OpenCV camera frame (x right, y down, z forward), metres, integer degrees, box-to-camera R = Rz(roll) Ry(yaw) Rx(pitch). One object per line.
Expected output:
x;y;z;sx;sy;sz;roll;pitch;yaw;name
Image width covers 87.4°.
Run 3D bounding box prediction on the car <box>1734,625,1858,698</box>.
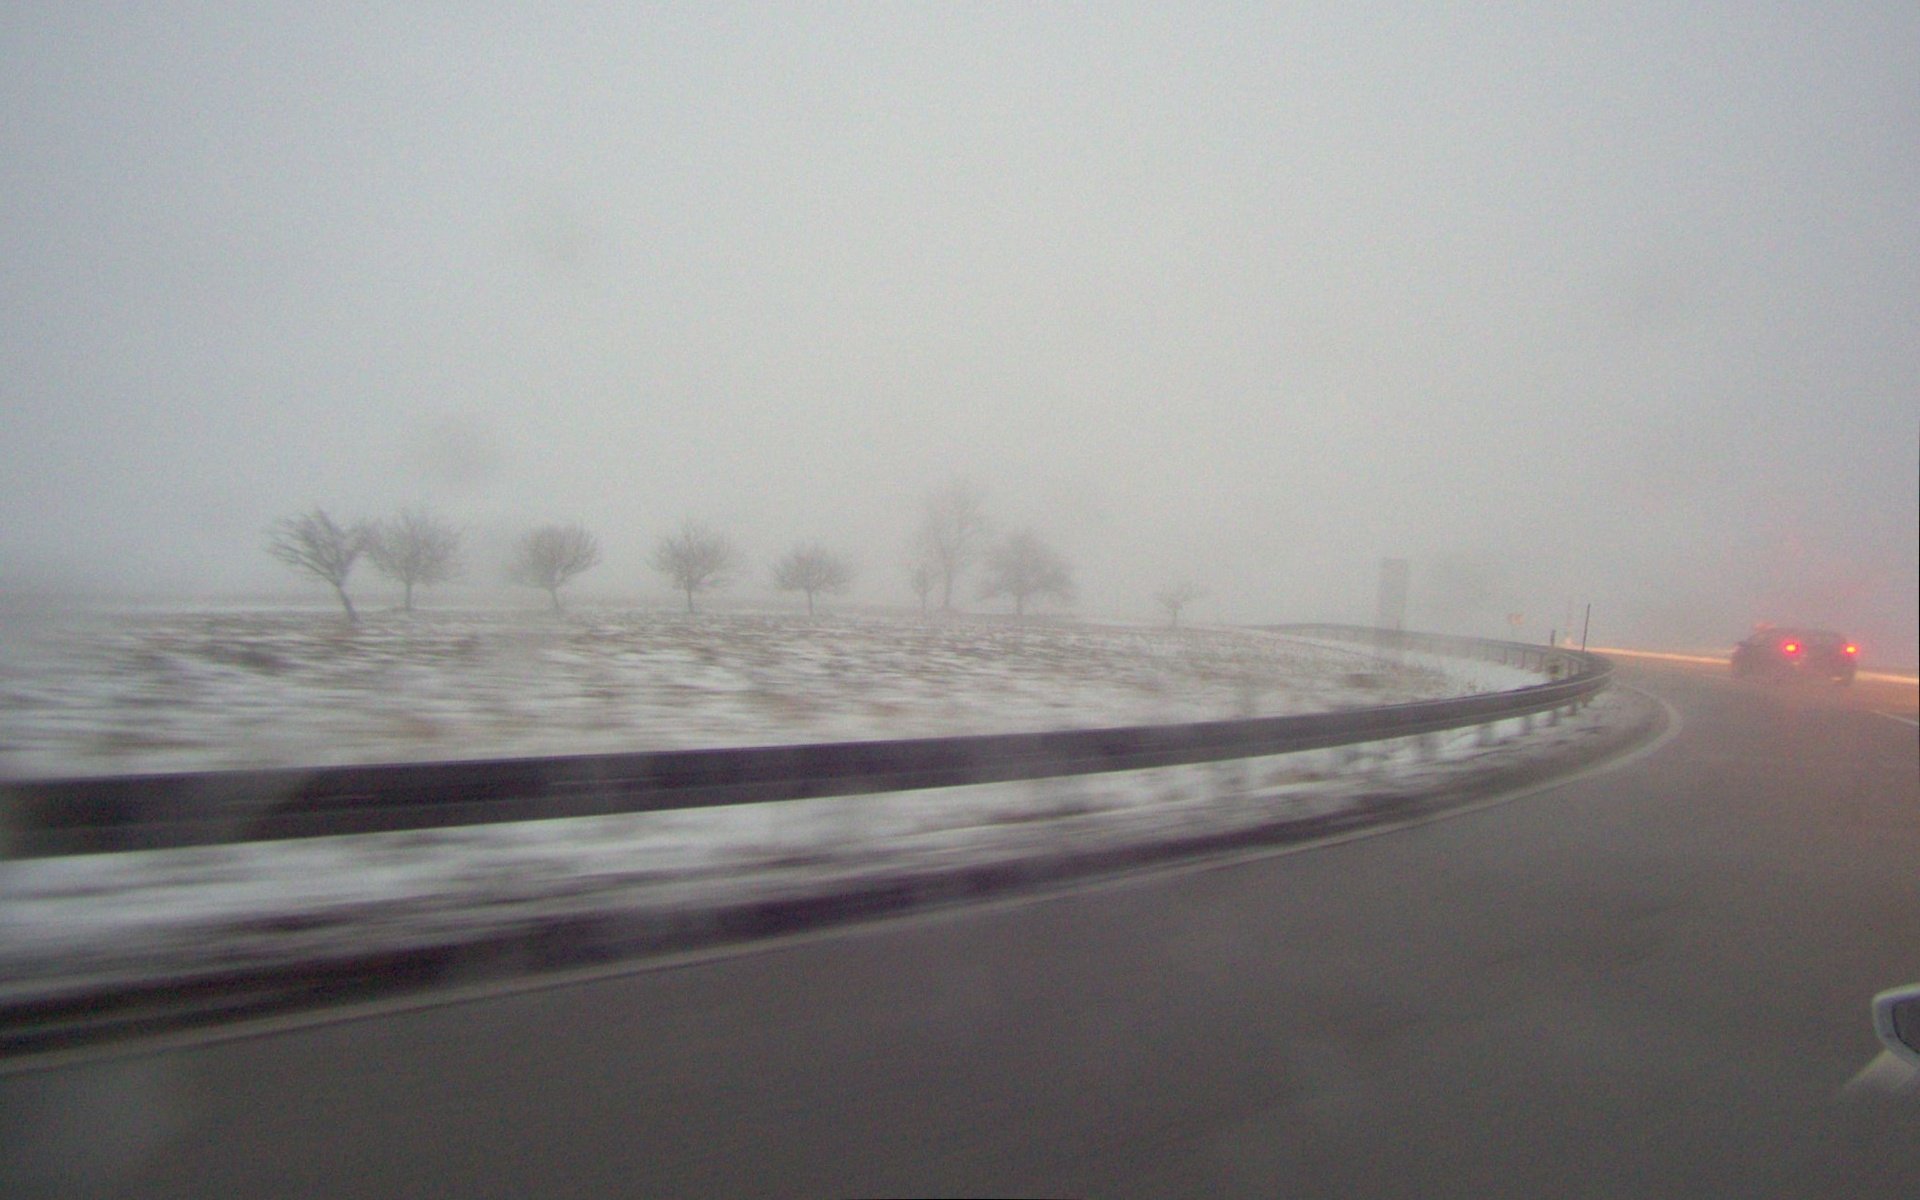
22.838;1.611;27.599;1.964;1.806;3.992;0;-1;30;car
